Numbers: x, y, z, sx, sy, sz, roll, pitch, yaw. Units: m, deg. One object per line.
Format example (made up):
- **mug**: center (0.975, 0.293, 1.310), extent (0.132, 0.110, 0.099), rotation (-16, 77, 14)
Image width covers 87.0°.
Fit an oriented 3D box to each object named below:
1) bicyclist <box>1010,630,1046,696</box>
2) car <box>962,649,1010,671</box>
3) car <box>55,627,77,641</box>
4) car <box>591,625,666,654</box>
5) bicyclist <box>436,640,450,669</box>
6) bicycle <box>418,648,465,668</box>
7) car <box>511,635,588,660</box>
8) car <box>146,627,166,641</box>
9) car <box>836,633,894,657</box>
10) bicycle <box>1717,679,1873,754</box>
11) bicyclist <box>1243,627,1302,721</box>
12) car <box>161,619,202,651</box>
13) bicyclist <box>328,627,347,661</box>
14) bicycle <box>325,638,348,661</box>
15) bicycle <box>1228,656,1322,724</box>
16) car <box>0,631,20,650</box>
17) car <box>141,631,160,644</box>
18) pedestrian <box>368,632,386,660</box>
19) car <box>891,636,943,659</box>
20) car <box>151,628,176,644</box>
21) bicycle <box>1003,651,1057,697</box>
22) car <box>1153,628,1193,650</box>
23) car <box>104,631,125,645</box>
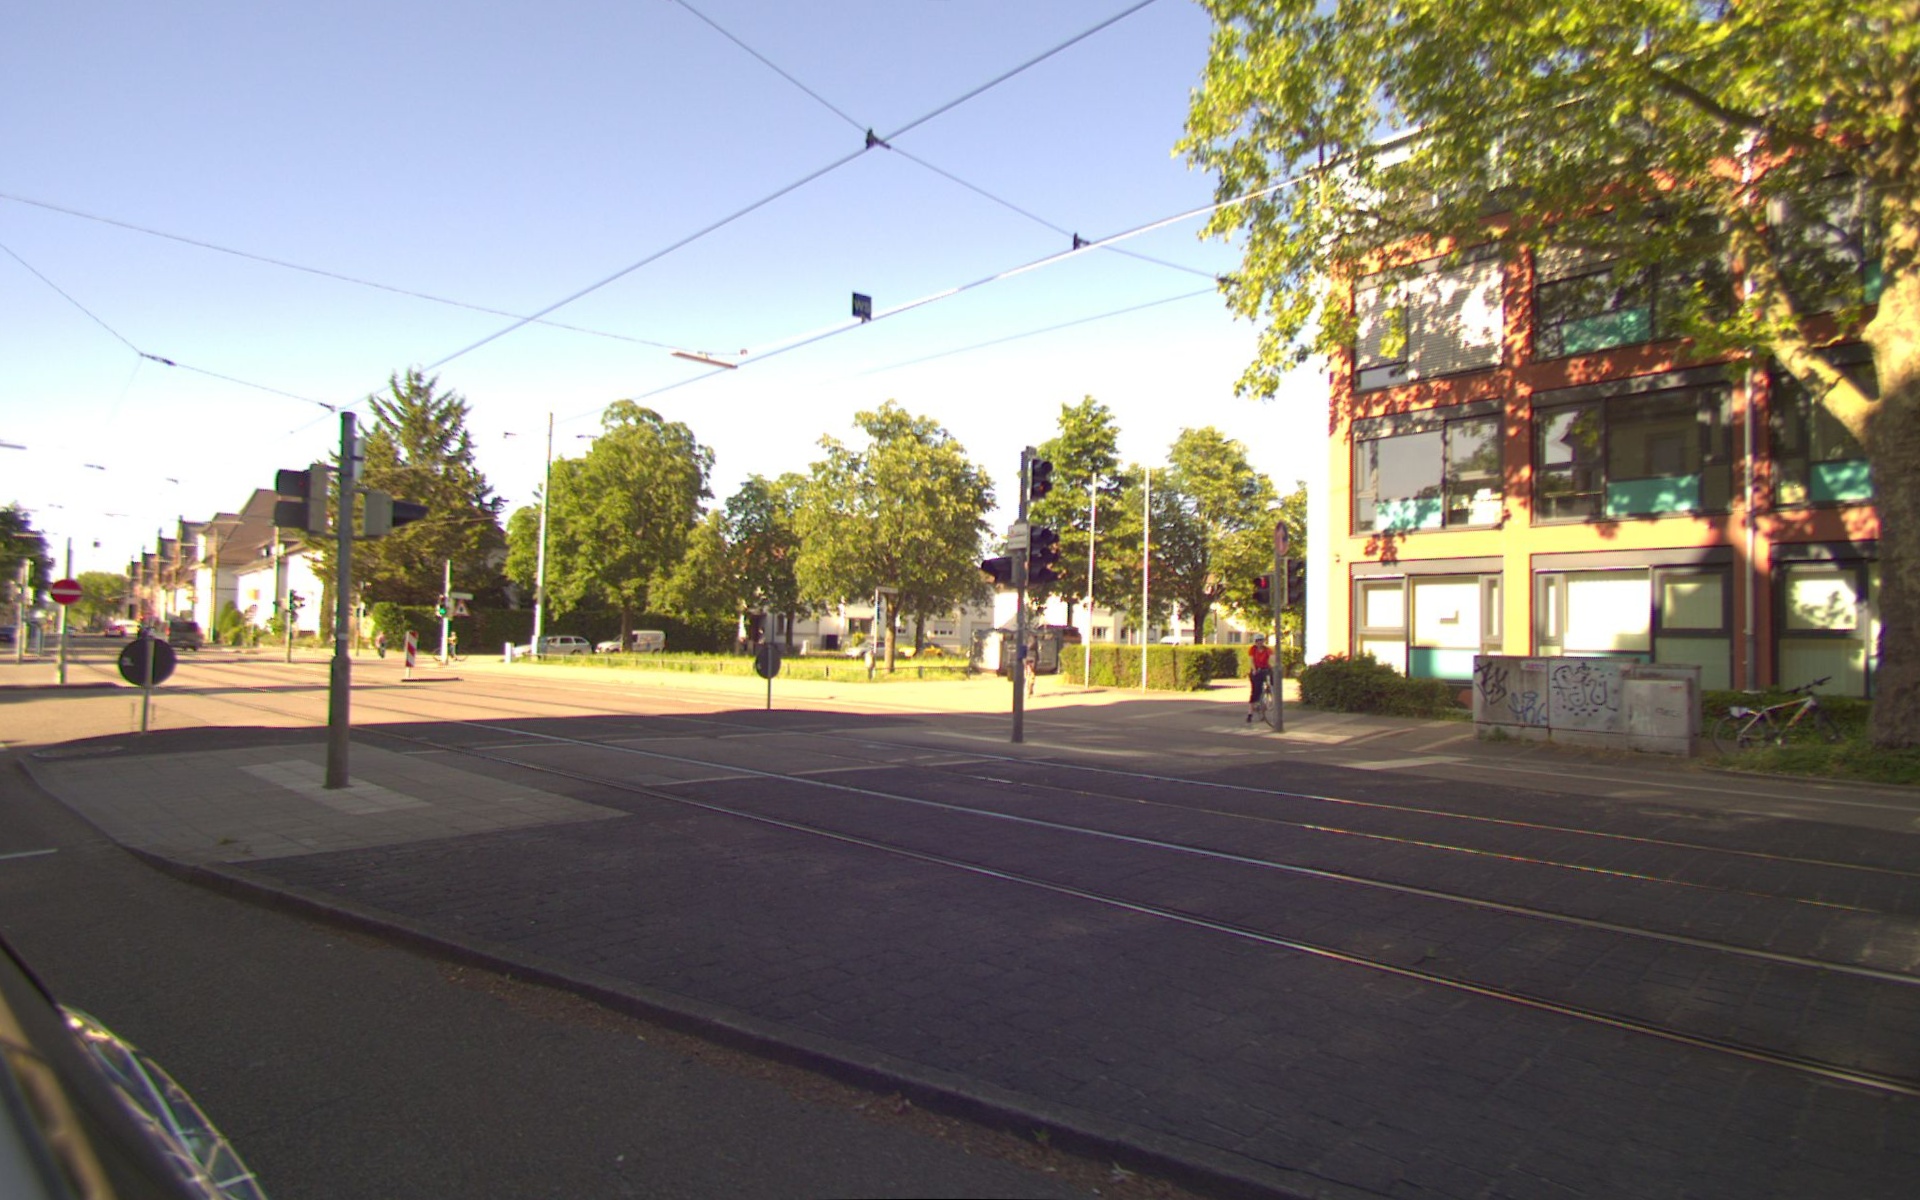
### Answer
- **bicyclist**: center (1.718, 1.569, 25.645), extent (0.636, 1.624, 0.783), rotation (-1, -1, -19)
- **car**: center (2.178, 5.056, 85.278), extent (3.825, 1.756, 1.819), rotation (2, -3, -40)
- **car**: center (-114.783, 4.390, 129.976), extent (1.895, 1.728, 4.007), rotation (0, -1, -39)
- **car**: center (-21.584, 2.557, 65.948), extent (4.247, 1.881, 1.819), rotation (2, -2, -40)
- **bicyclist**: center (-29.163, 3.080, 57.051), extent (0.550, 1.635, 0.900), rotation (2, -3, -34)
- **bicycle**: center (-29.213, 3.258, 57.014), extent (2.249, 1.126, 0.932), rotation (2, -3, -34)
- **car**: center (-24.337, 2.837, 60.034), extent (3.934, 1.444, 1.821), rotation (2, -3, -36)
- **car**: center (-98.650, 4.151, 124.147), extent (1.894, 1.577, 4.008), rotation (0, -1, -38)
- **car**: center (-7.276, 3.441, 77.720), extent (4.135, 1.756, 1.819), rotation (2, -3, -40)
- **bicycle**: center (11.292, 1.555, 13.739), extent (1.535, 0.913, 0.517), rotation (0, -2, 25)
- **bicyclist**: center (5.892, 1.378, 19.095), extent (0.596, 1.705, 0.935), rotation (-1, -1, -17)
- **car**: center (-52.532, 2.403, 68.246), extent (1.994, 2.029, 5.259), rotation (4, -5, -39)
- **bicyclist**: center (-31.736, 2.235, 51.578), extent (0.580, 1.724, 0.902), rotation (4, -5, -44)
- **bicycle**: center (-31.807, 2.527, 51.620), extent (0.580, 1.122, 1.828), rotation (4, -5, -44)
- **bicycle**: center (5.896, 1.666, 19.095), extent (0.623, 1.138, 2.041), rotation (-1, -1, -17)
- **car**: center (-82.201, 3.473, 86.935), extent (1.678, 1.562, 4.009), rotation (0, -1, -37)
- **car**: center (-108.394, 5.018, 135.476), extent (1.895, 1.728, 4.006), rotation (-1, -1, -40)
- **pedestrian**: center (-32.973, 2.578, 57.235), extent (0.615, 1.568, 0.679), rotation (-1, -1, 0)
- **car**: center (-3.410, 3.760, 80.688), extent (3.825, 1.756, 1.819), rotation (2, -3, -40)
- **car**: center (-88.748, 3.968, 112.739), extent (1.896, 1.728, 4.005), rotation (0, -2, -41)
- **bicycle**: center (1.743, 1.853, 25.574), extent (0.636, 1.050, 1.931), rotation (-1, -1, -19)
- **car**: center (21.235, 3.887, 100.897), extent (4.117, 2.110, 1.819), rotation (2, -3, -40)
- **car**: center (-110.821, 5.020, 132.668), extent (1.894, 1.728, 4.008), rotation (0, -1, -38)
